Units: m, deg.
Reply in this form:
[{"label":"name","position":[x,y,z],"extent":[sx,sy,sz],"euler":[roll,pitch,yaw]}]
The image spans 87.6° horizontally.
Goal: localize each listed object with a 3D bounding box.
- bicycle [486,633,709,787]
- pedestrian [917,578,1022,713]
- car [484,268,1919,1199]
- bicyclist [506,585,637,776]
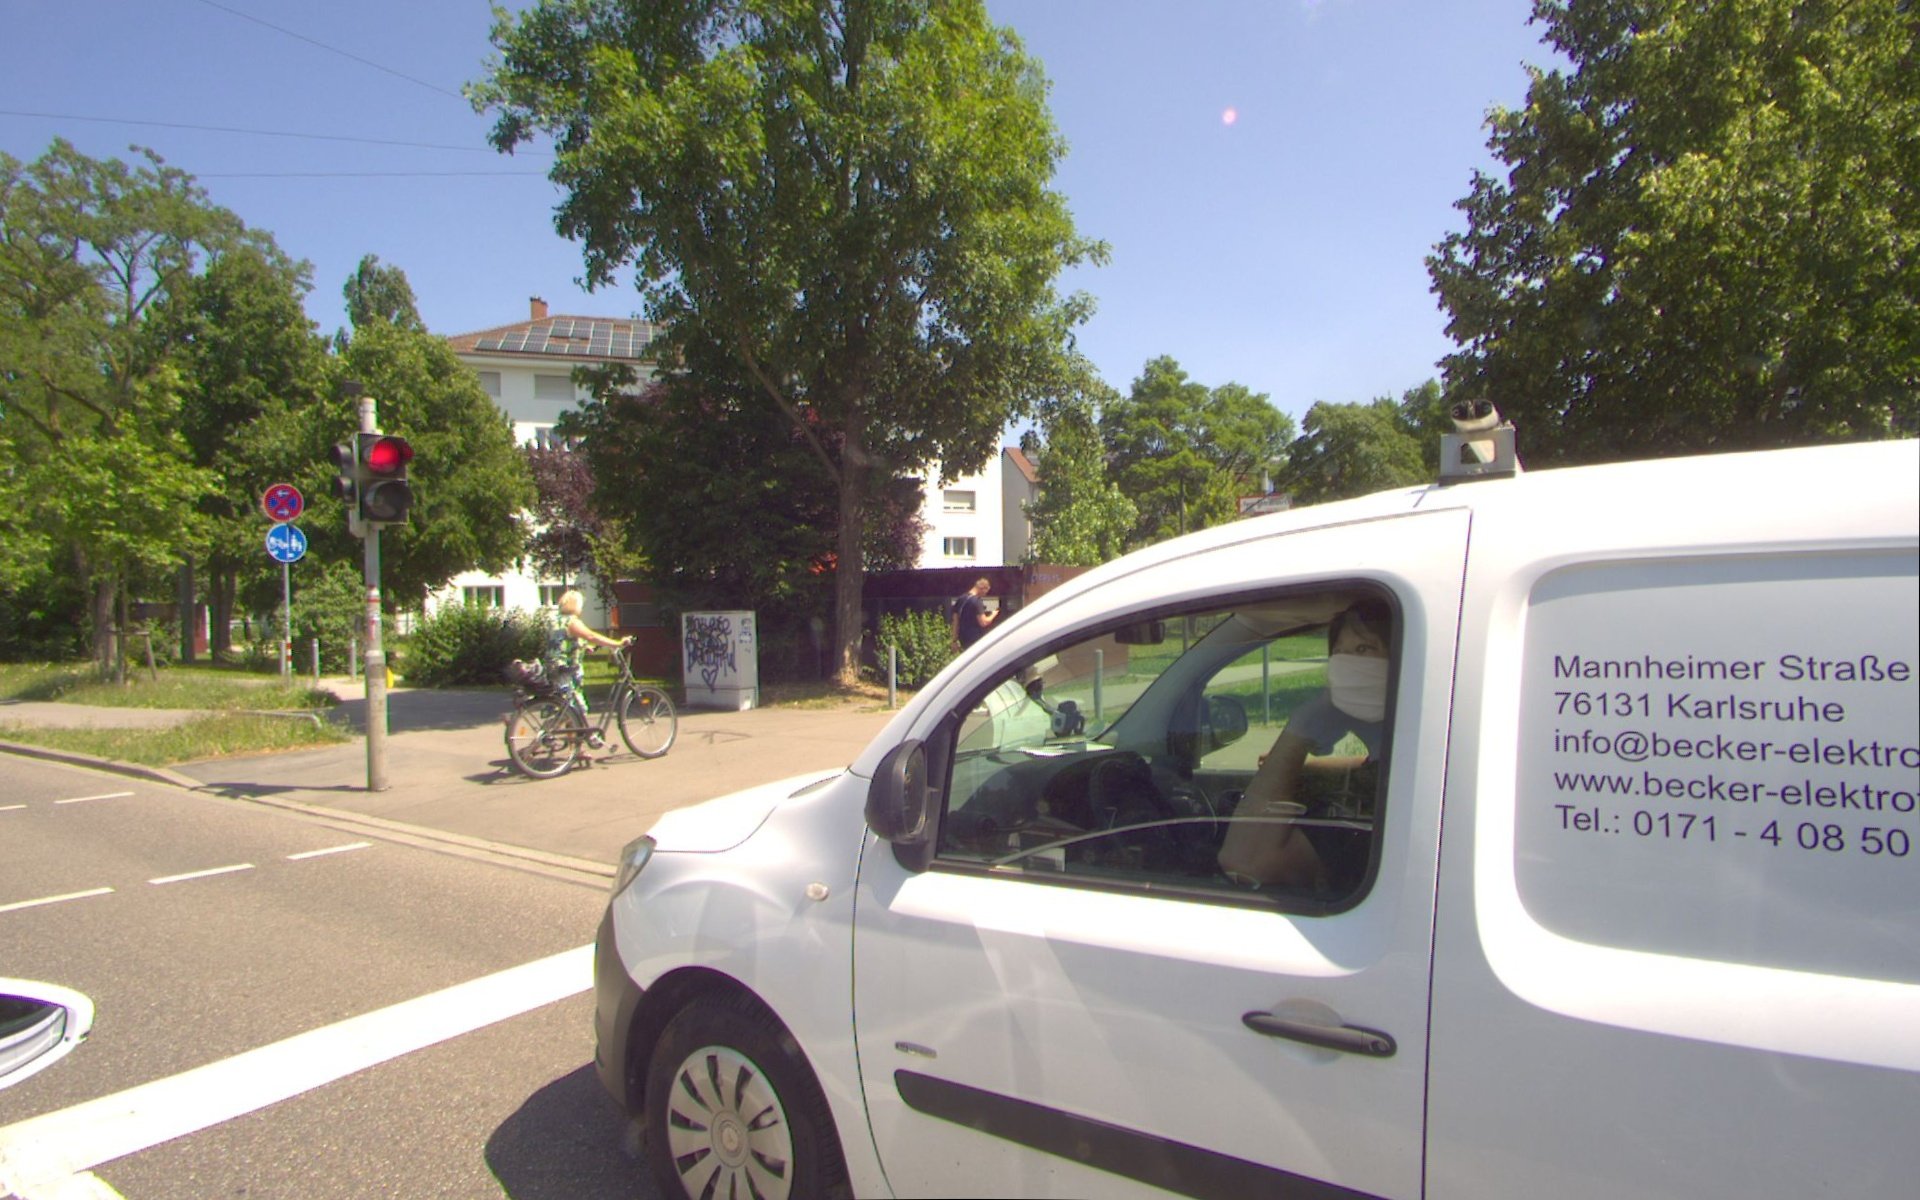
[{"label":"bicycle","position":[-3.317,0.956,9.354],"extent":[0.534,1.177,1.949],"euler":[0,2,38]},{"label":"pedestrian","position":[0.132,0.624,14.209],"extent":[1.172,1.801,0.835],"euler":[-2,1,-33]},{"label":"car","position":[1.126,0.565,2.300],"extent":[4.384,1.850,1.990],"euler":[-1,0,32]},{"label":"bicyclist","position":[-3.668,0.718,9.487],"extent":[0.573,1.690,0.953],"euler":[1,3,38]}]
